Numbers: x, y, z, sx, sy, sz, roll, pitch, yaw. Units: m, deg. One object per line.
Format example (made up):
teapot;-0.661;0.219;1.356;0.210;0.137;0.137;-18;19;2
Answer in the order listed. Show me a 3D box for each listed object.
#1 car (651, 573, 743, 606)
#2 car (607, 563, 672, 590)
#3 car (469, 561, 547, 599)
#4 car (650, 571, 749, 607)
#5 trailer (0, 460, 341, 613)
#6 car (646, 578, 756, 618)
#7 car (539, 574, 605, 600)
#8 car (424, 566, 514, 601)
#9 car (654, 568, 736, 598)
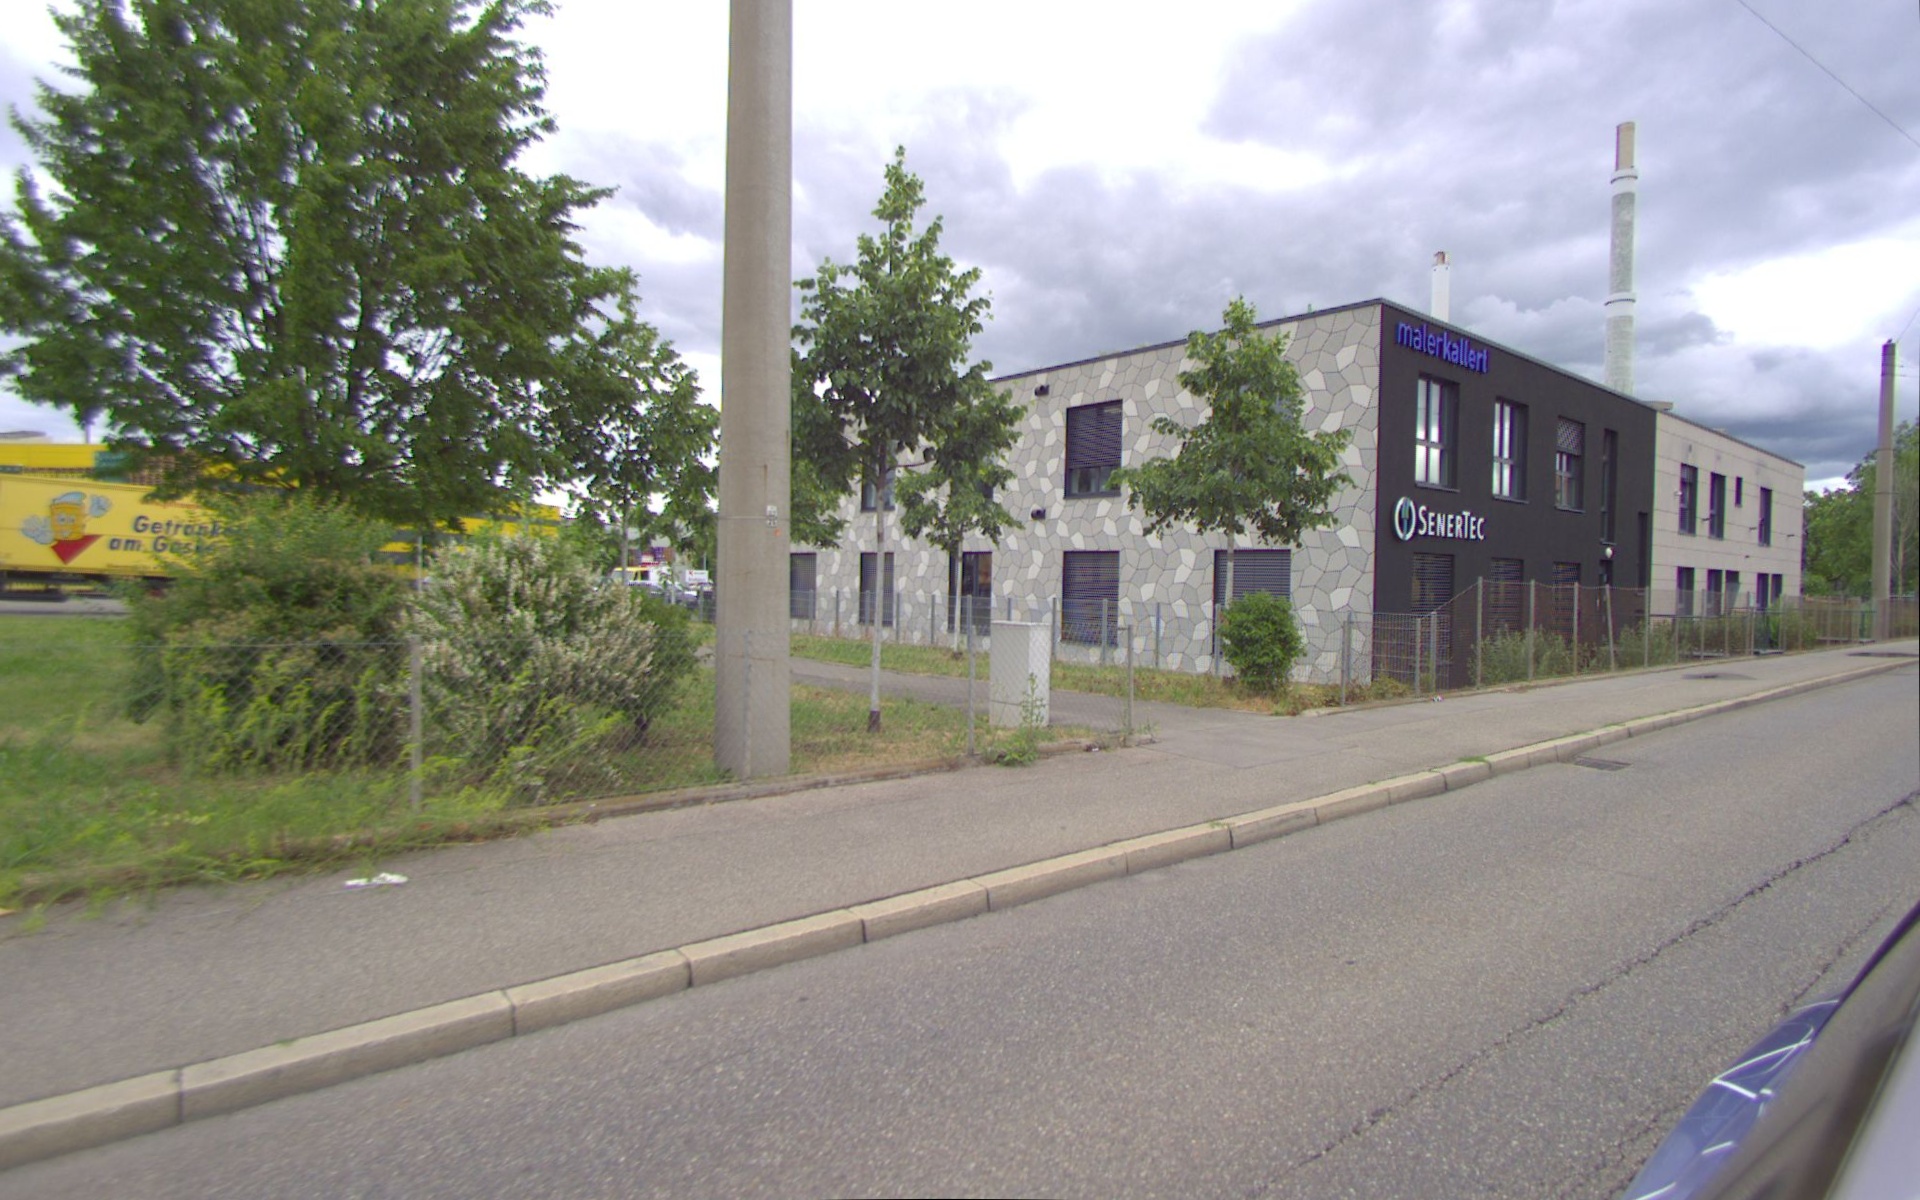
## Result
car;-13.684;-0.564;52.912;4.292;1.604;2.001;1;1;0
car;-20.513;-1.475;64.987;1.971;1.605;4.356;-1;0;14
car;-26.850;-1.169;60.225;1.971;2.148;4.356;-1;0;14
car;-12.591;-0.558;49.050;4.292;1.604;2.001;1;1;0
trailer;-24.444;-1.763;31.367;8.544;4.123;2.945;1;1;-41
car;-11.238;-0.102;44.093;4.292;1.604;2.001;1;1;0
car;-25.587;-0.816;66.946;1.970;1.625;4.358;-1;0;13
car;-26.151;-0.872;54.052;1.971;1.713;4.356;3;1;14
car;-15.595;-1.009;59.698;4.292;1.604;2.001;1;1;0
